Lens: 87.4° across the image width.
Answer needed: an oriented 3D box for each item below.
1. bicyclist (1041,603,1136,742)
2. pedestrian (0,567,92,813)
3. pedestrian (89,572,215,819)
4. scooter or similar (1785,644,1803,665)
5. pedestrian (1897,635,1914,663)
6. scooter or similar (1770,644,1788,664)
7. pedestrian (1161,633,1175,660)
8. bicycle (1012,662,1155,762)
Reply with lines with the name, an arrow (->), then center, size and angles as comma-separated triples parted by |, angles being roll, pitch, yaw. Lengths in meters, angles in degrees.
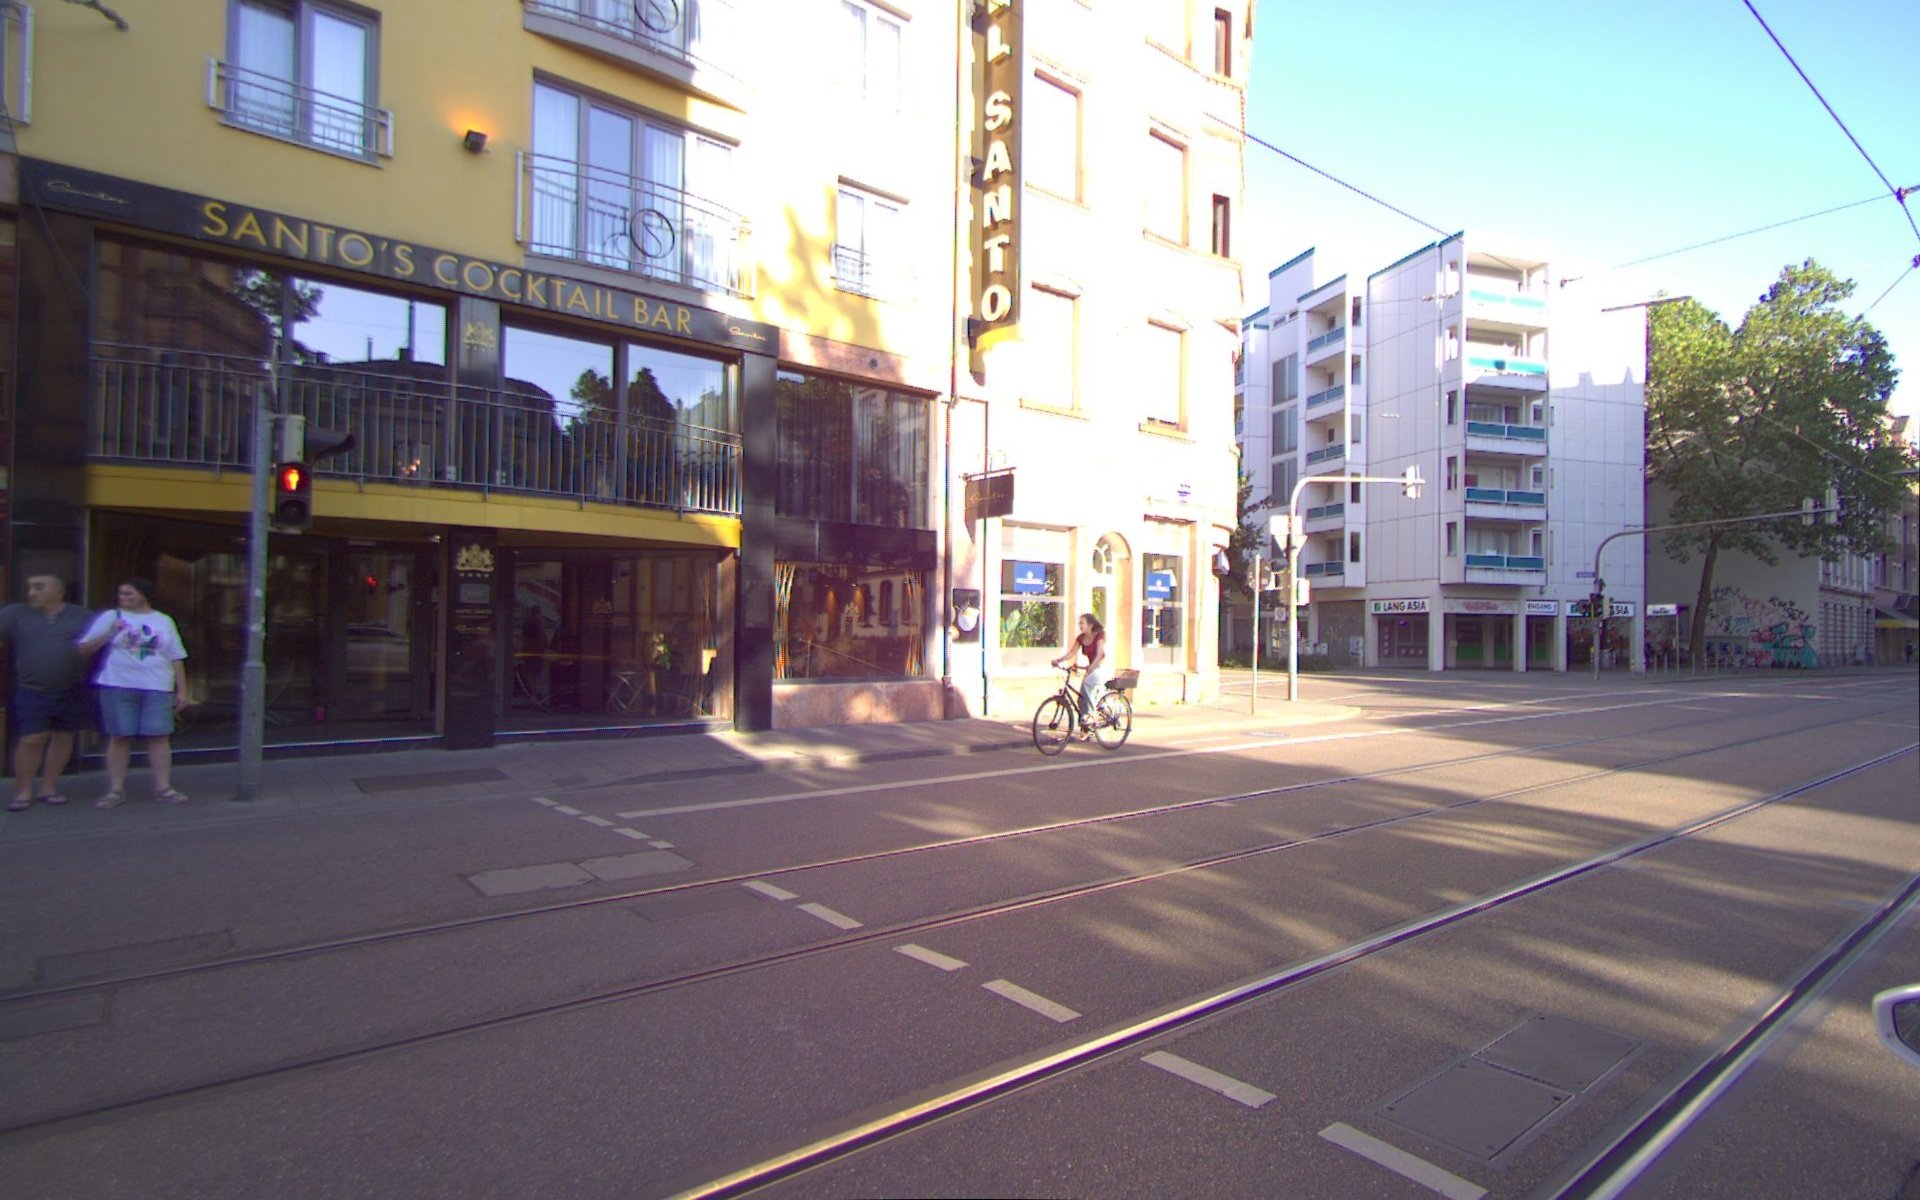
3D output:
bicyclist -> 1.621, 0.883, 12.610 | 0.982, 1.665, 0.695 | 2, -2, -40
pedestrian -> -7.280, 0.665, 7.757 | 0.793, 1.795, 0.741 | 1, 3, -37
pedestrian -> -6.658, 0.731, 8.287 | 0.748, 1.843, 1.033 | 1, 3, -40
scooter or similar -> 44.278, 2.883, 53.317 | 1.467, 1.071, 0.512 | 2, -2, -41
pedestrian -> 60.294, 3.127, 64.032 | 0.642, 1.751, 0.695 | 2, -2, -39
scooter or similar -> 43.865, 2.890, 53.790 | 1.467, 1.059, 0.512 | 2, -2, -41
pedestrian -> 13.212, 2.932, 63.716 | 0.651, 1.718, 0.646 | 1, -1, -16
bicycle -> 1.567, 1.352, 12.554 | 1.883, 1.124, 0.691 | 2, -2, -41
